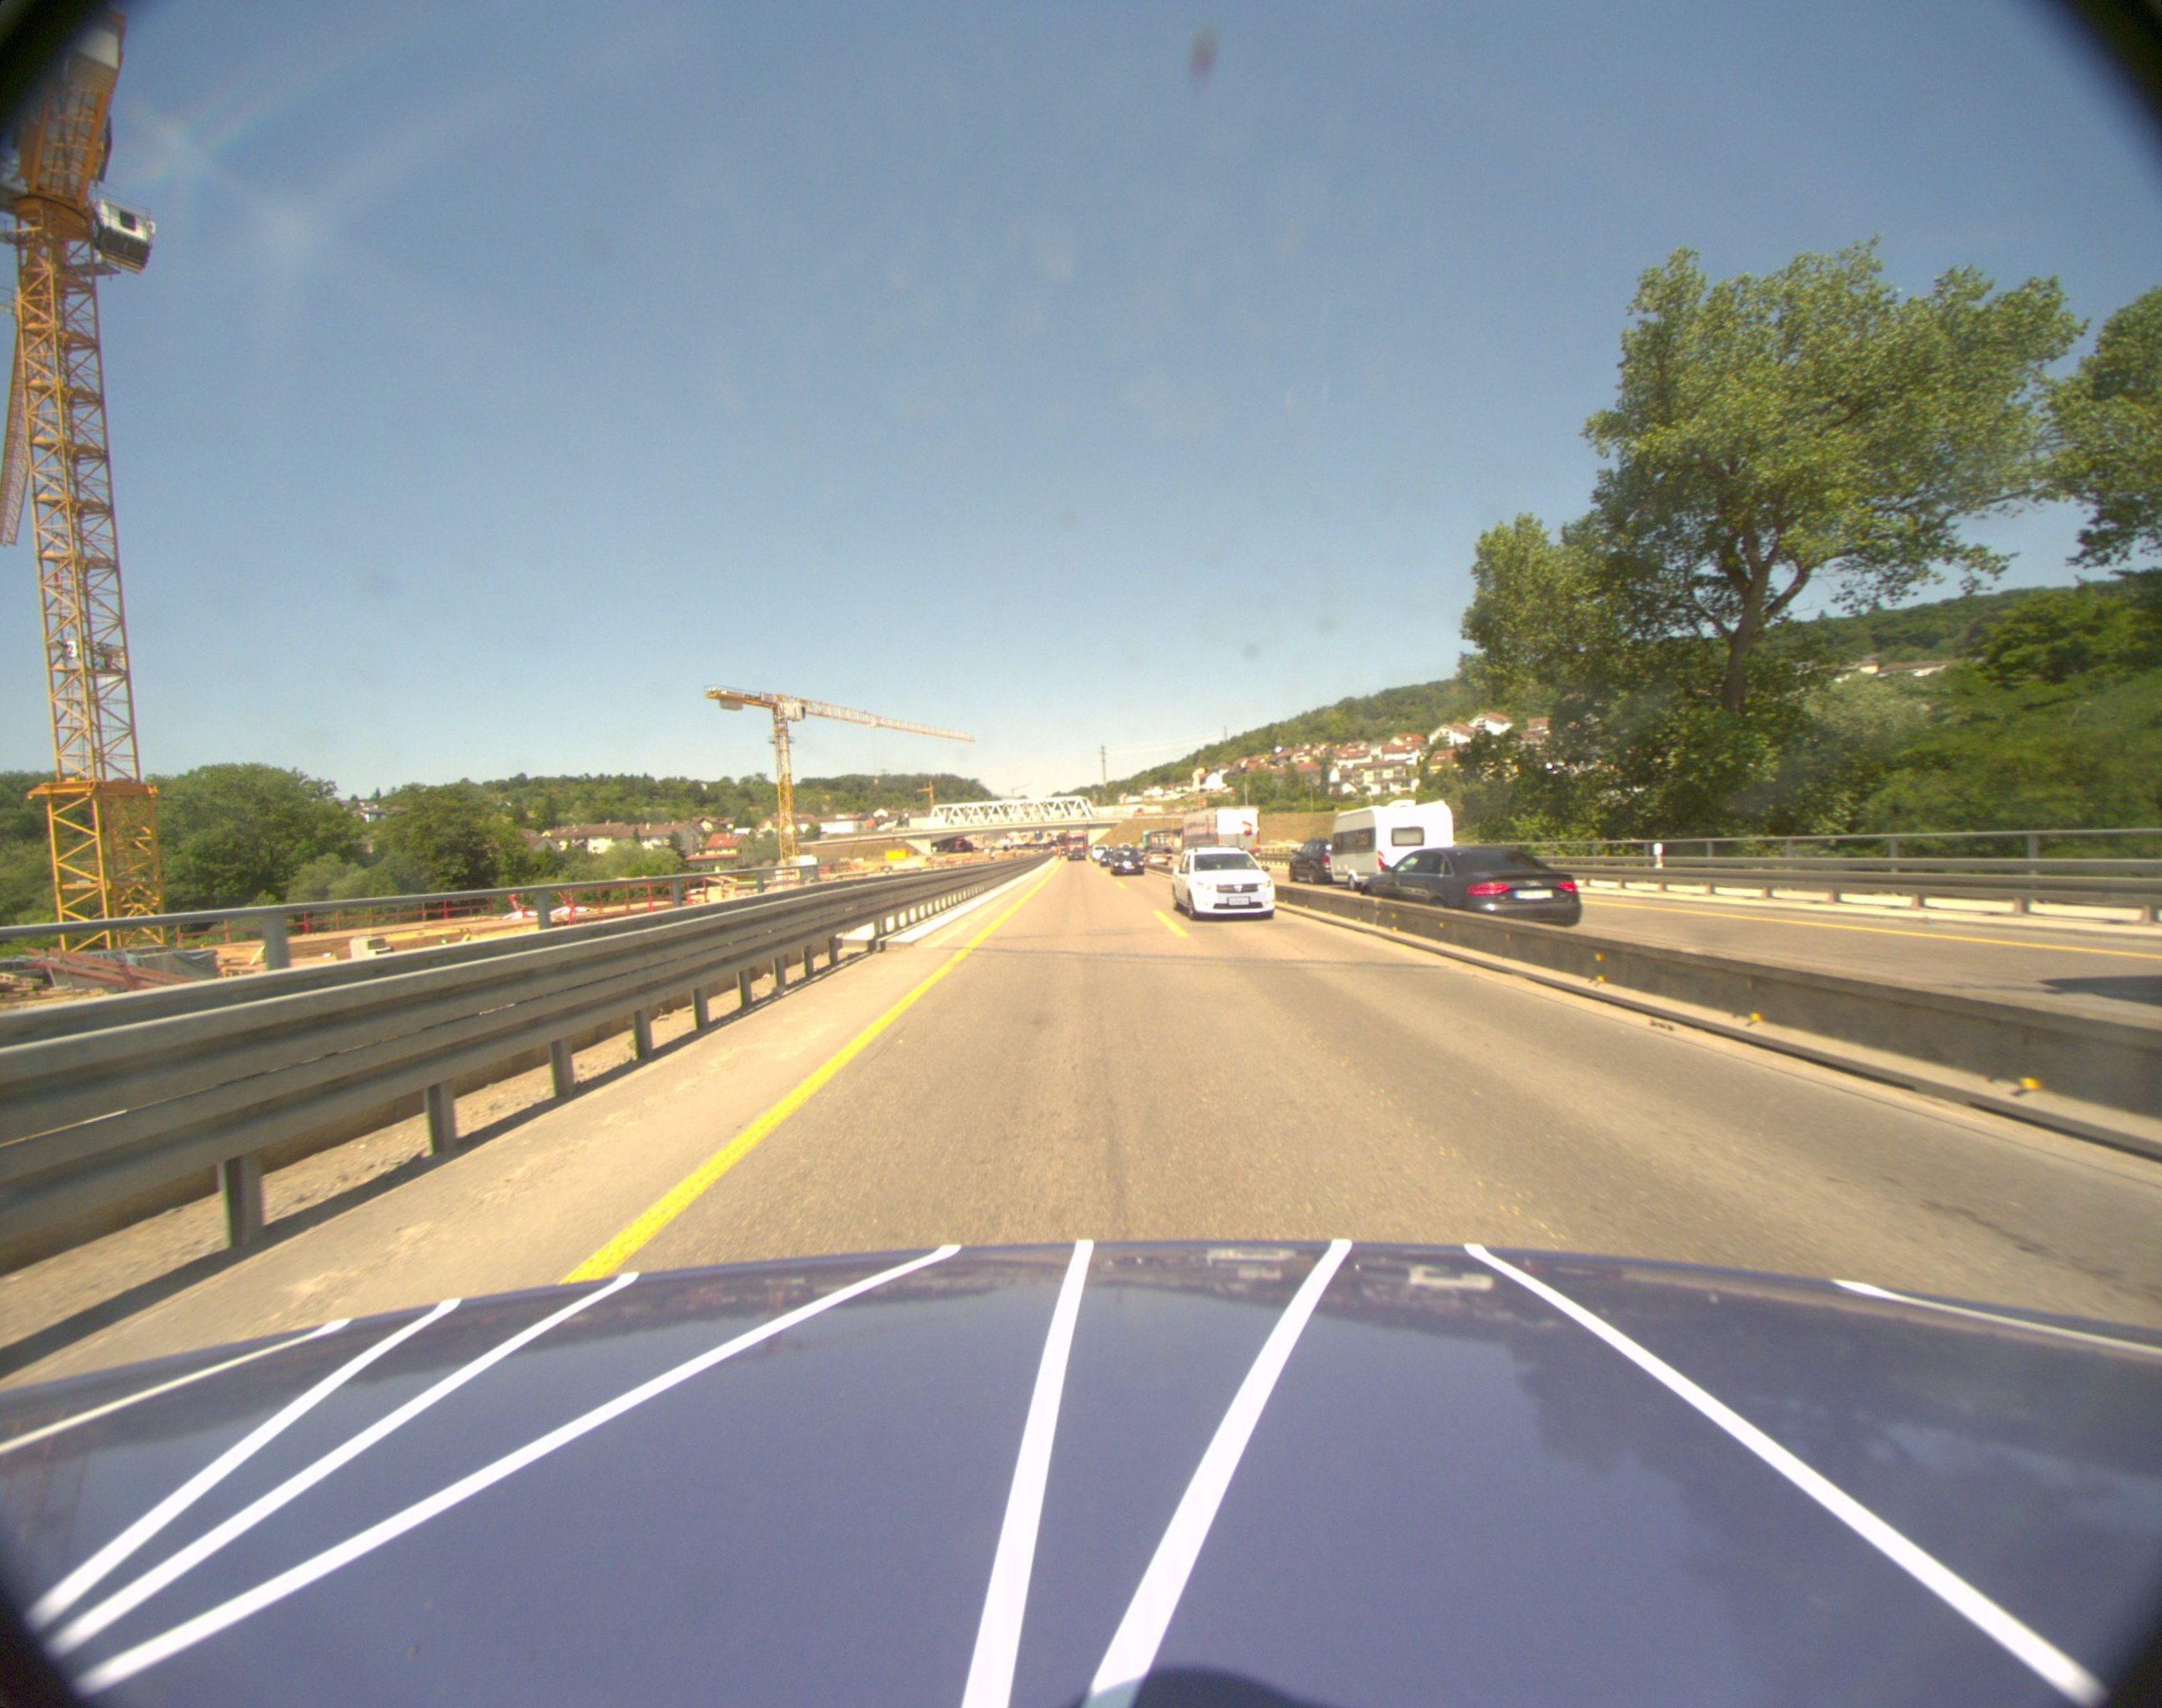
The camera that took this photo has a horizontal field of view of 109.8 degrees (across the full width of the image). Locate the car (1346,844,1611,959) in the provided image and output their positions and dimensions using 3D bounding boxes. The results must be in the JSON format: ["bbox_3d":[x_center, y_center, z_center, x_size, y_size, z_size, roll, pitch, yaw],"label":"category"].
[{"bbox_3d":[6.067,0.613,12.340,1.782,1.412,4.536,-4,1,-1],"label":"car"}]

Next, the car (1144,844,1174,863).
[{"bbox_3d":[6.248,-0.074,61.068,1.906,1.453,4.193,0,0,-1],"label":"car"}]

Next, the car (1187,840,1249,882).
[{"bbox_3d":[6.145,0.274,34.645,1.852,1.678,4.617,-4,1,0],"label":"car"}]

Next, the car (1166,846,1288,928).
[{"bbox_3d":[3.131,0.626,17.214,1.823,1.521,4.705,-2,1,0],"label":"car"}]

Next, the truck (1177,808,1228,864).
[{"bbox_3d":[9.341,-1.358,59.180,2.823,4.014,6.522,-2,0,0],"label":"truck"}]

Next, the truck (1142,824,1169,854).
[{"bbox_3d":[9.421,-1.927,96.675,2.804,3.701,5.372,-2,2,-1],"label":"truck"}]

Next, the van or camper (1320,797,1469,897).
[{"bbox_3d":[9.540,-0.222,23.734,2.510,2.683,5.243,-2,1,1],"label":"van or camper"}]

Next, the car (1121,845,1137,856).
[{"bbox_3d":[5.850,-0.435,93.001,1.785,1.372,4.711,0,1,2],"label":"car"}]

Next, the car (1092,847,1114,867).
[{"bbox_3d":[1.978,0.252,68.880,1.791,1.578,4.000,-4,1,1],"label":"car"}]

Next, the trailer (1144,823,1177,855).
[{"bbox_3d":[9.531,-1.802,91.765,2.801,3.651,8.954,-2,1,-1],"label":"trailer"}]

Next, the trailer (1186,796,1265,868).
[{"bbox_3d":[9.401,-1.331,50.986,2.814,4.152,11.796,-2,0,-1],"label":"trailer"}]

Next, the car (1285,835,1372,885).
[{"bbox_3d":[9.389,0.187,29.278,1.772,1.724,4.790,-2,1,0],"label":"car"}]

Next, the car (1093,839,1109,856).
[{"bbox_3d":[2.350,-0.728,90.895,1.791,1.871,4.000,-4,1,1],"label":"car"}]

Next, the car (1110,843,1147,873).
[{"bbox_3d":[2.837,0.202,46.047,1.862,1.683,4.096,-2,1,-1],"label":"car"}]

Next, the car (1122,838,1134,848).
[{"bbox_3d":[8.600,-2.032,140.089,1.863,1.857,4.628,-1,1,0],"label":"car"}]

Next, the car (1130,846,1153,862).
[{"bbox_3d":[6.200,0.003,78.781,1.895,1.479,4.919,-4,1,0],"label":"car"}]

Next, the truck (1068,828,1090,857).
[{"bbox_3d":[-0.173,-1.664,104.239,2.702,3.705,8.506,-2,2,1],"label":"truck"}]
